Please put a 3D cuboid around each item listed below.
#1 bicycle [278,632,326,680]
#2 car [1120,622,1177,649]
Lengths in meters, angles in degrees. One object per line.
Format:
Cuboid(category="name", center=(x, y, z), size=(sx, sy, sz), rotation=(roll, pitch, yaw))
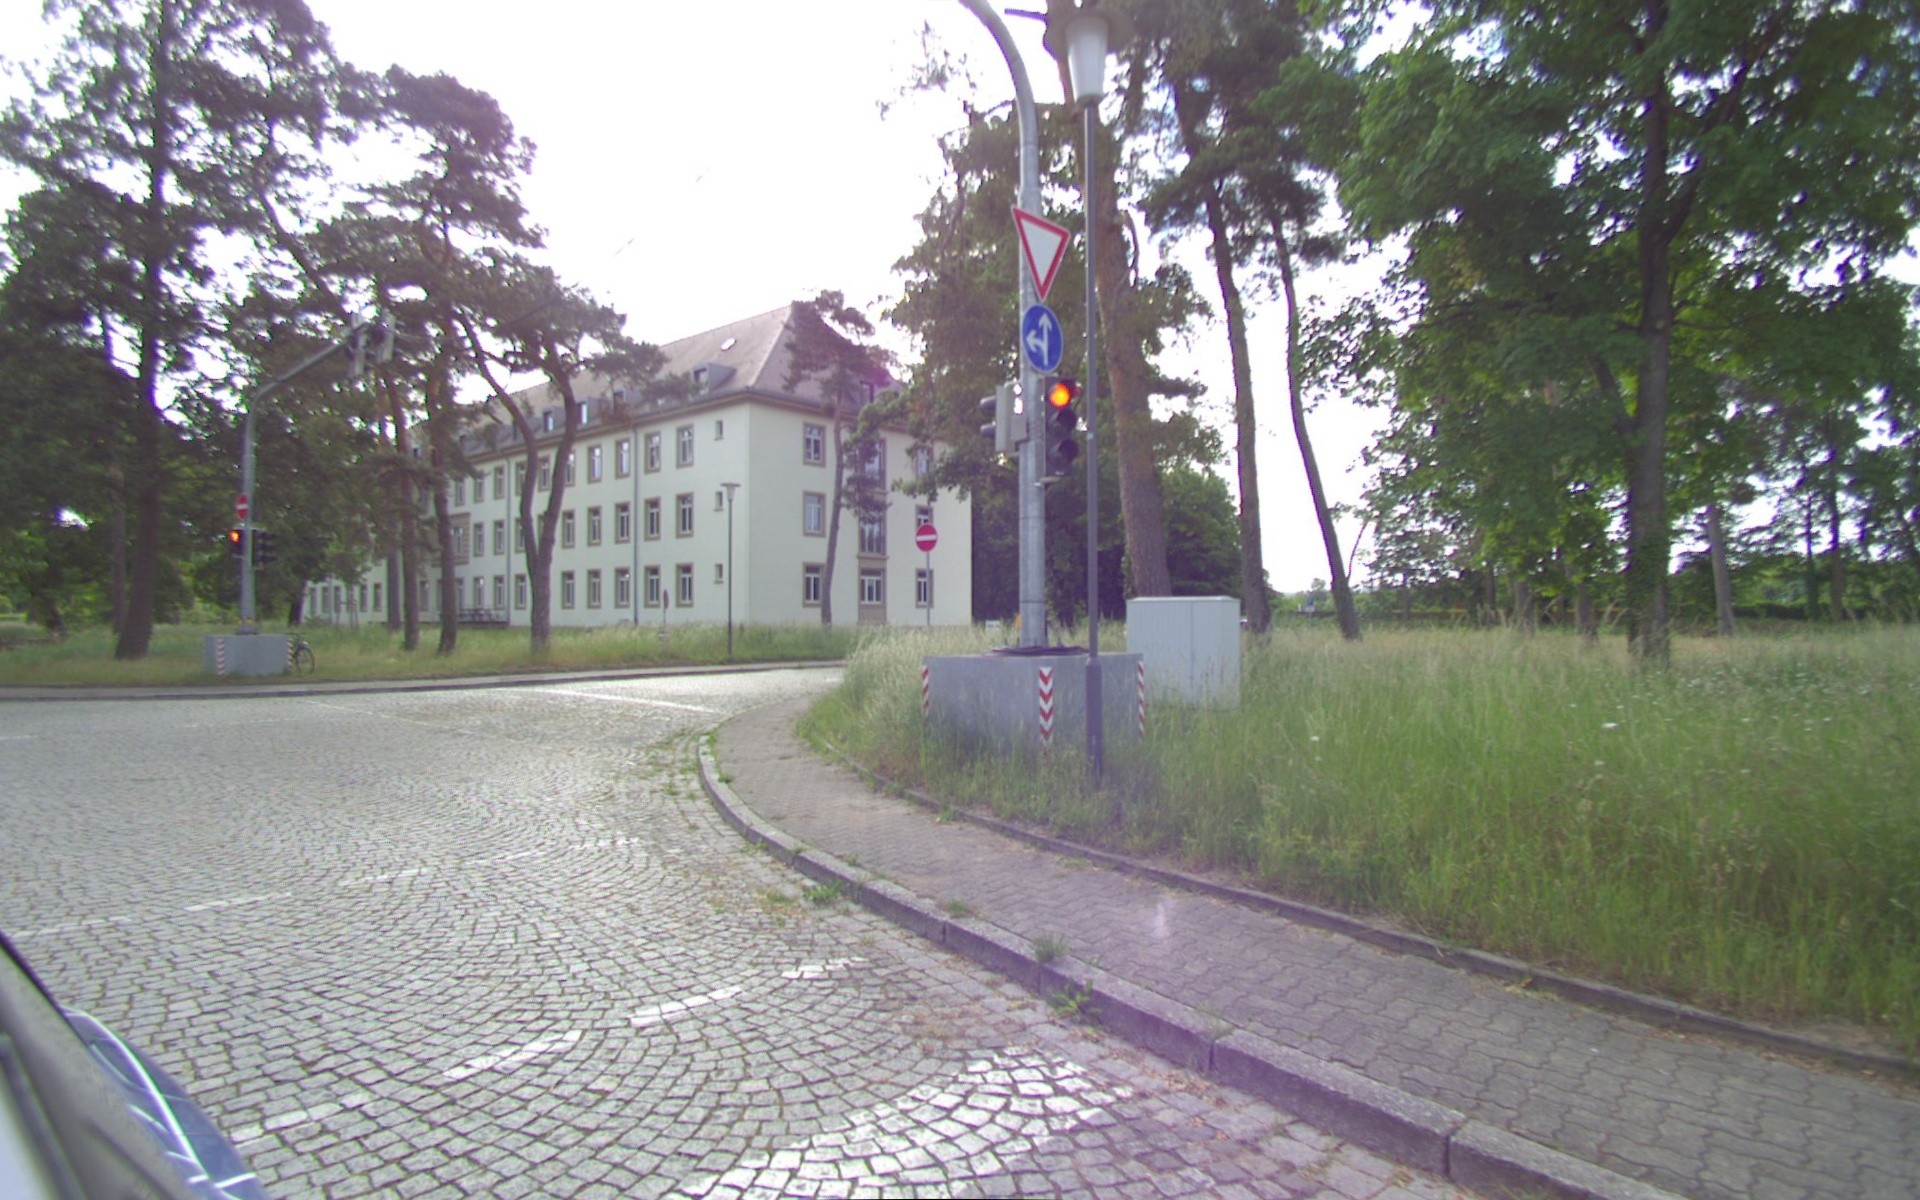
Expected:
Cuboid(category="bicycle", center=(-15.574, 1.313, 23.942), size=(1.414, 1.082, 0.491), rotation=(-1, 1, 38))
Cuboid(category="car", center=(12.230, 2.258, 65.612), size=(1.717, 1.622, 3.999), rotation=(1, 0, 44))
